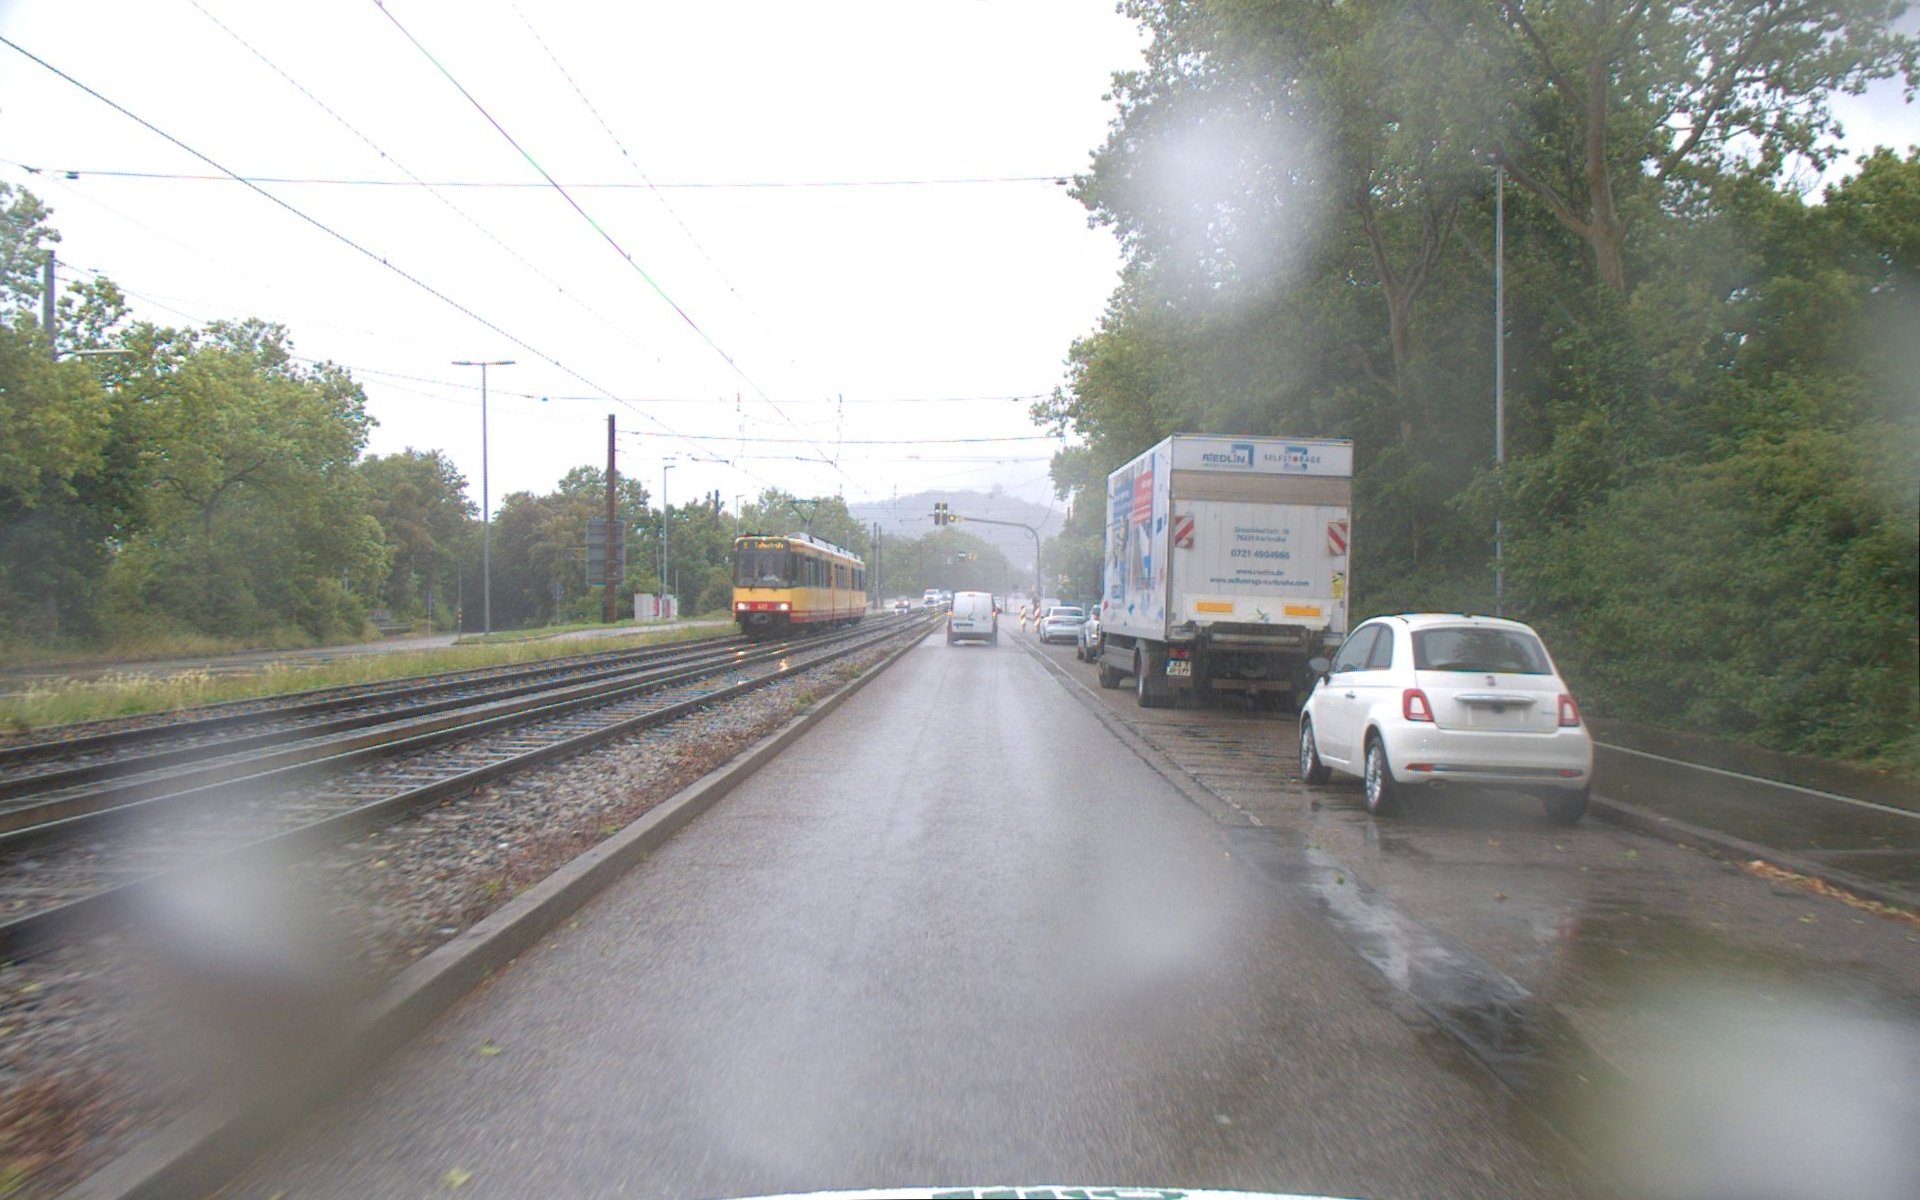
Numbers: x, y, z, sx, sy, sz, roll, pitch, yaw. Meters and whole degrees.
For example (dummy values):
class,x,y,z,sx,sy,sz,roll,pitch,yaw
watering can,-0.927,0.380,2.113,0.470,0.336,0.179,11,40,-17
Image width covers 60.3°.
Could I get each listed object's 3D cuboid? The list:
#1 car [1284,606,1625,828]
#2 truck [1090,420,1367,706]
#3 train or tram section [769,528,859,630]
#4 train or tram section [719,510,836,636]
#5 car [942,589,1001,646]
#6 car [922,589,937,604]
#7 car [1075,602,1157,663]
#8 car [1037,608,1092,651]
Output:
class,x,y,z,sx,sy,sz,roll,pitch,yaw
car,3.928,0.842,13.815,1.678,1.556,4.000,1,0,1
truck,3.966,-0.425,26.937,2.719,3.769,9.849,1,-1,-1
train or tram section,-6.485,-0.824,75.558,2.748,4.222,13.019,1,0,0
train or tram section,-6.675,-0.893,62.533,2.749,4.222,13.020,1,0,1
car,0.404,0.585,57.409,1.953,1.881,4.000,1,0,0
car,-4.508,-0.532,242.786,1.952,2.049,4.000,1,-1,1
car,4.122,0.848,44.356,1.775,1.485,4.345,2,-1,0
car,3.961,1.101,63.401,1.782,1.512,4.480,2,0,0
